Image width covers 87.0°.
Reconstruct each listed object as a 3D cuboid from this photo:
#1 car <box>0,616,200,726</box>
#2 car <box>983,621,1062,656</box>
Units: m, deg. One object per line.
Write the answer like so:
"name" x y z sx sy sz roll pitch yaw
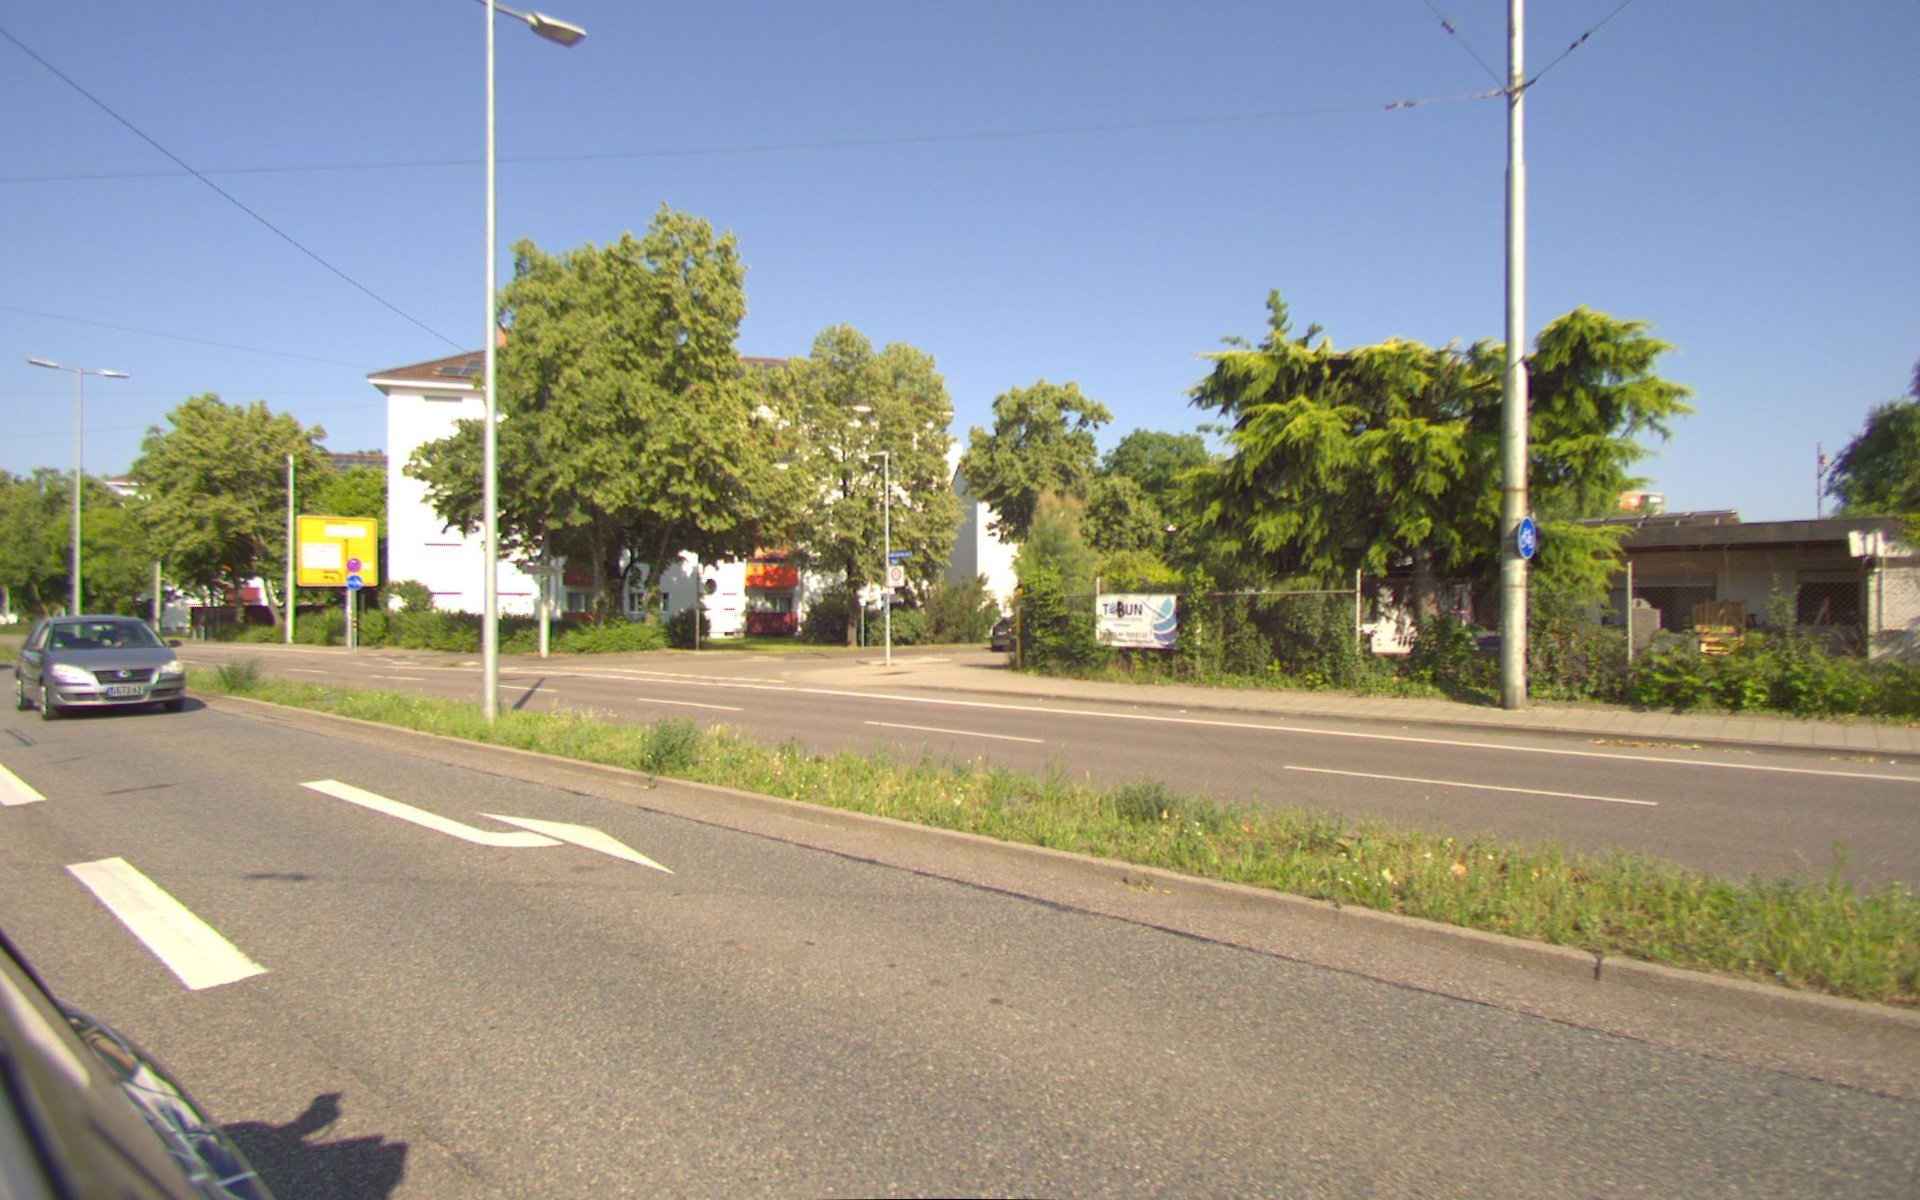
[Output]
"car" -13.263 0.998 15.429 3.826 1.439 1.673 -1 0 37
"car" 2.821 1.699 45.130 1.758 1.498 3.514 -1 -2 42
